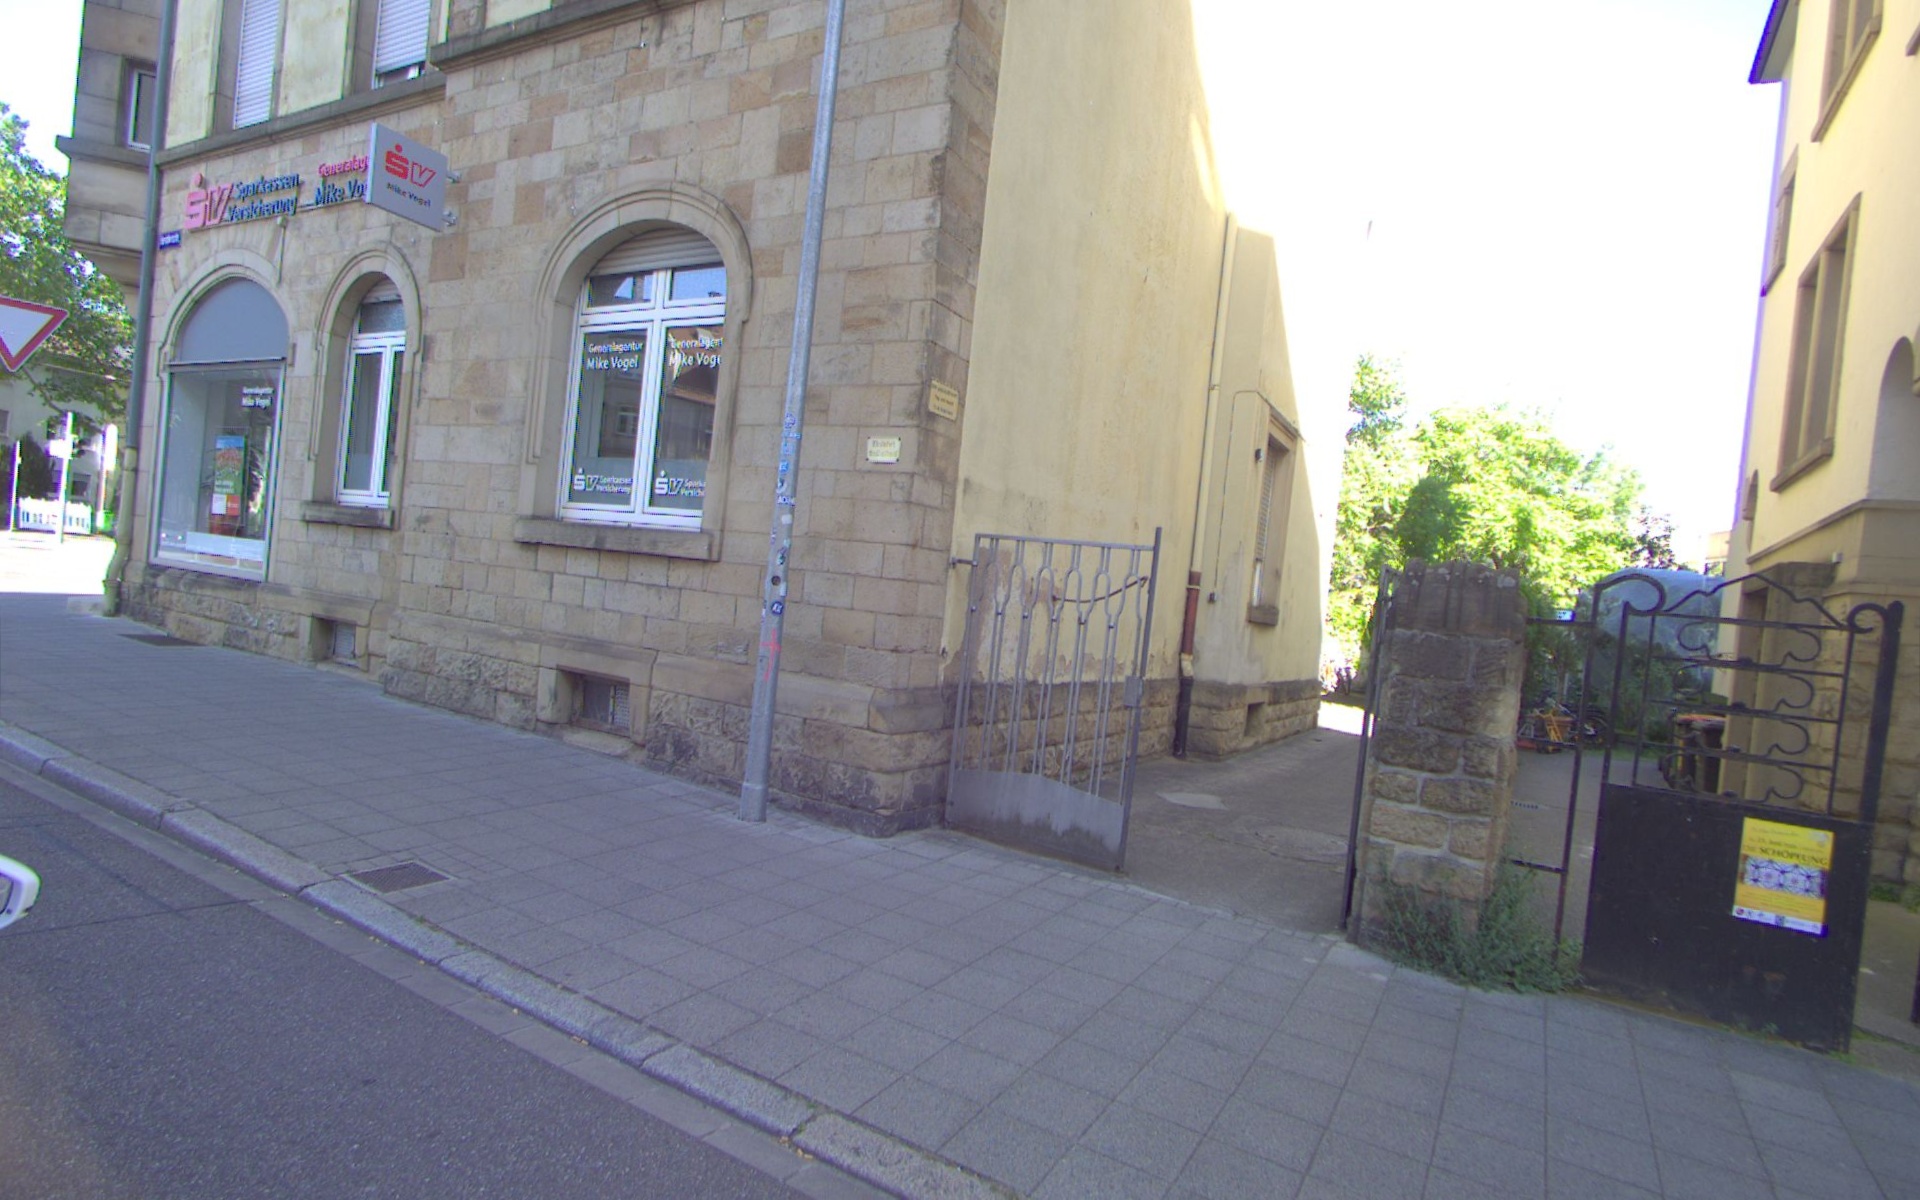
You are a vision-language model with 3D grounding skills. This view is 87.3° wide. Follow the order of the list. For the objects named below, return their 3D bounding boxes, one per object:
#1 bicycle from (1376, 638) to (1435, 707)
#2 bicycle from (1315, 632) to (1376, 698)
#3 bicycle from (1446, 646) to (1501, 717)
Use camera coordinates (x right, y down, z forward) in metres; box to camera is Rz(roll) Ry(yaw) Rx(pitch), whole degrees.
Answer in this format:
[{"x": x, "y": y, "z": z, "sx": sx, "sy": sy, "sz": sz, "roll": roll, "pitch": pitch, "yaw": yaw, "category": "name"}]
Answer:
[{"x": 11.212, "y": 1.781, "z": 25.251, "sx": 0.904, "sy": 1.532, "sz": 2.667, "roll": 6, "pitch": 2, "yaw": 31, "category": "bicycle"}, {"x": 9.979, "y": 1.645, "z": 25.967, "sx": 0.904, "sy": 1.532, "sz": 2.667, "roll": 6, "pitch": 2, "yaw": 31, "category": "bicycle"}, {"x": 12.598, "y": 1.940, "z": 24.637, "sx": 0.904, "sy": 1.532, "sz": 2.667, "roll": 6, "pitch": 2, "yaw": 31, "category": "bicycle"}]
